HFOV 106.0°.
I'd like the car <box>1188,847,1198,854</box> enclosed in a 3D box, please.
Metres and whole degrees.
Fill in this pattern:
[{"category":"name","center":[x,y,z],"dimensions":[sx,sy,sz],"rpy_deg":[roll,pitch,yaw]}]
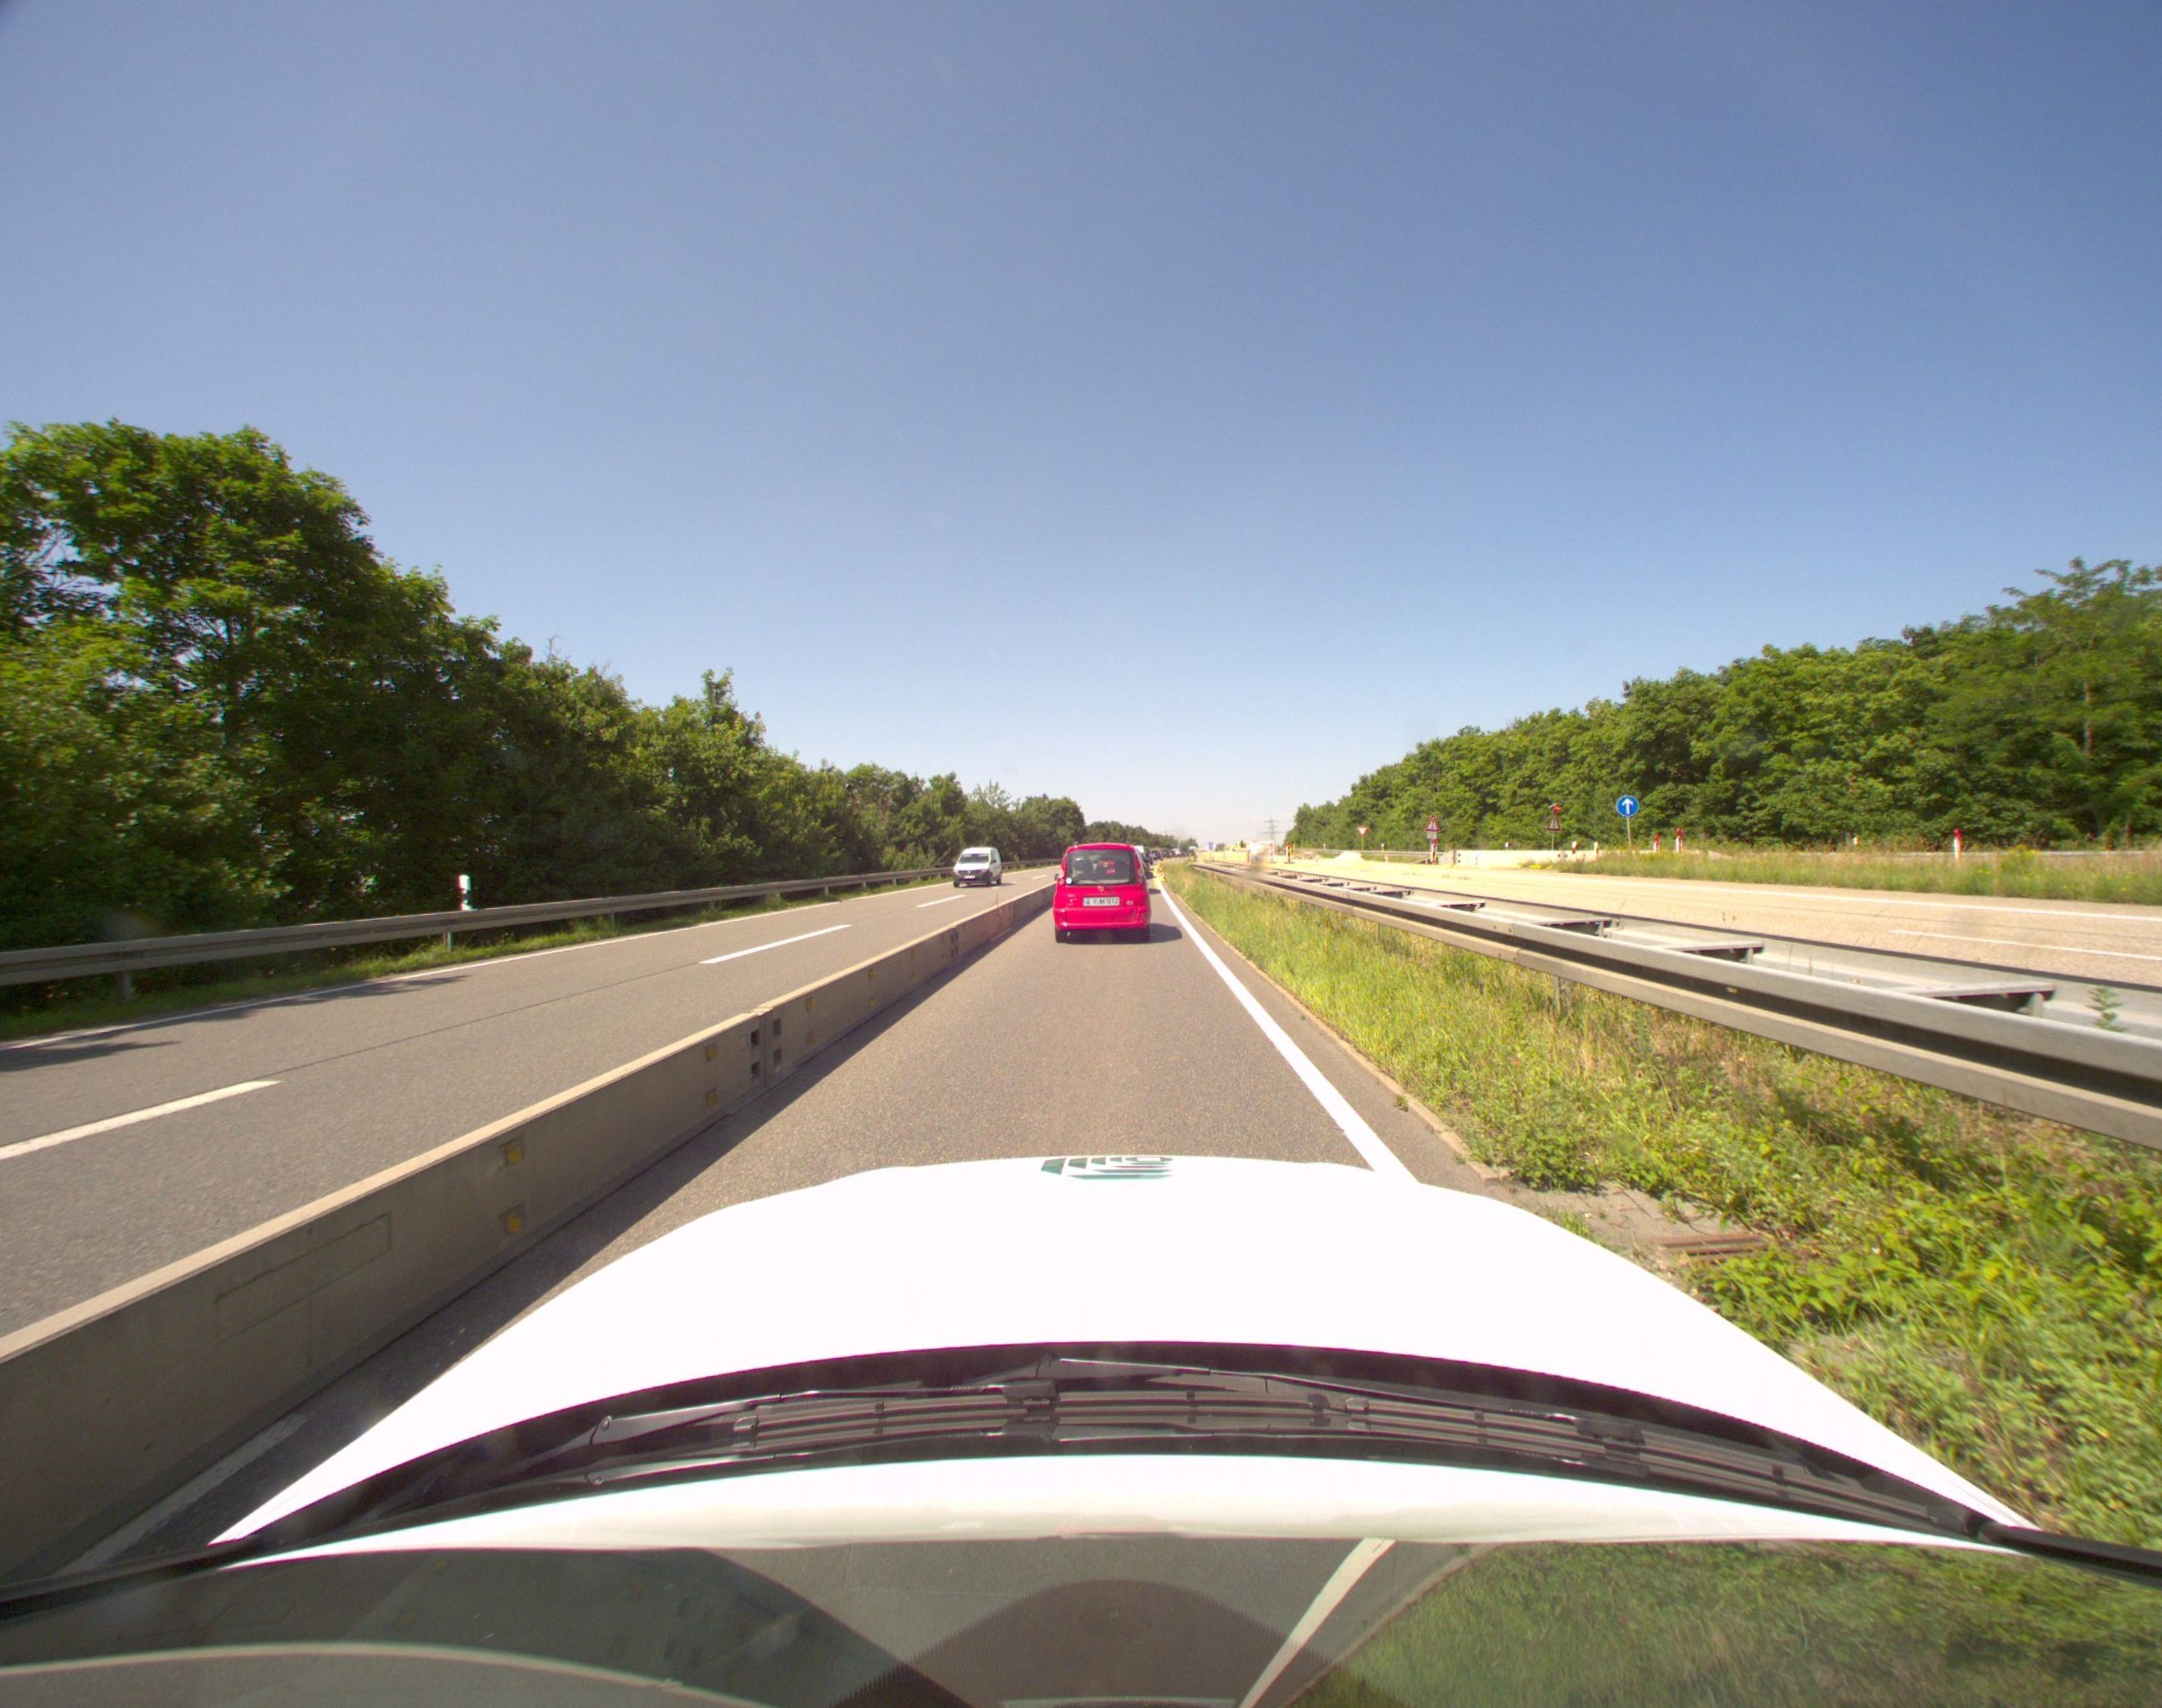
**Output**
[{"category":"car","center":[27.154,-0.867,197.916],"dimensions":[1.985,1.552,4.004],"rpy_deg":[-2,0,4]}]

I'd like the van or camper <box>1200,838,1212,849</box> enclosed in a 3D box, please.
[{"category":"van or camper","center":[31.673,-2.697,206.984],"dimensions":[2.319,2.707,4.595],"rpy_deg":[-2,0,2]}]

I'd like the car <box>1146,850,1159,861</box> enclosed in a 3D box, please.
[{"category":"car","center":[9.154,0.194,104.556],"dimensions":[1.495,1.450,3.329],"rpy_deg":[-1,0,4]}]

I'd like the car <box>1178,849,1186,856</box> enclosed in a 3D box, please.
[{"category":"car","center":[21.704,-0.366,175.266],"dimensions":[1.494,1.450,3.175],"rpy_deg":[-2,0,6]}]

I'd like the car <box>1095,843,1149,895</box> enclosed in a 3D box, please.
[{"category":"car","center":[1.531,0.510,29.790],"dimensions":[1.822,1.722,4.005],"rpy_deg":[-1,0,4]}]

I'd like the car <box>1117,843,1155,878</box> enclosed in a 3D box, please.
[{"category":"car","center":[3.102,0.357,45.864],"dimensions":[1.985,1.838,4.004],"rpy_deg":[-1,0,4]}]

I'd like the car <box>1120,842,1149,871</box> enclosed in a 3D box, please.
[{"category":"car","center":[3.912,0.191,60.147],"dimensions":[1.986,2.003,4.002],"rpy_deg":[-1,0,2]}]

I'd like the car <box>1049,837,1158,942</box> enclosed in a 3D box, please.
[{"category":"car","center":[0.444,0.576,15.202],"dimensions":[1.745,1.673,4.002],"rpy_deg":[-1,0,2]}]

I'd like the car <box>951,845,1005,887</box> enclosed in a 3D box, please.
[{"category":"car","center":[-4.745,0.532,37.980],"dimensions":[1.749,1.765,4.286],"rpy_deg":[-3,0,2]}]

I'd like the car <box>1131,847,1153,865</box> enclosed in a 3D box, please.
[{"category":"car","center":[6.017,0.203,80.539],"dimensions":[1.985,1.750,4.003],"rpy_deg":[-1,0,3]}]

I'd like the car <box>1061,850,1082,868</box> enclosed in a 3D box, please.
[{"category":"car","center":[-0.891,0.450,79.677],"dimensions":[1.850,1.638,4.386],"rpy_deg":[-3,0,2]}]

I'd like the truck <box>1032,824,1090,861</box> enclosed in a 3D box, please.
[{"category":"truck","center":[-3.120,-1.796,127.956],"dimensions":[8.579,5.375,3.394],"rpy_deg":[-2,0,5]}]

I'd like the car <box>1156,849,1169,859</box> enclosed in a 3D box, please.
[{"category":"car","center":[13.033,-0.049,129.690],"dimensions":[1.983,1.585,4.008],"rpy_deg":[-1,0,7]}]

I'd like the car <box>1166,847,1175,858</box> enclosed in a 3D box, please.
[{"category":"car","center":[15.783,-0.277,143.643],"dimensions":[1.495,1.736,3.174],"rpy_deg":[-2,0,4]}]

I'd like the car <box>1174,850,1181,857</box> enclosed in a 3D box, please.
[{"category":"car","center":[18.798,-0.170,158.997],"dimensions":[1.414,1.298,2.884],"rpy_deg":[-2,0,6]}]
